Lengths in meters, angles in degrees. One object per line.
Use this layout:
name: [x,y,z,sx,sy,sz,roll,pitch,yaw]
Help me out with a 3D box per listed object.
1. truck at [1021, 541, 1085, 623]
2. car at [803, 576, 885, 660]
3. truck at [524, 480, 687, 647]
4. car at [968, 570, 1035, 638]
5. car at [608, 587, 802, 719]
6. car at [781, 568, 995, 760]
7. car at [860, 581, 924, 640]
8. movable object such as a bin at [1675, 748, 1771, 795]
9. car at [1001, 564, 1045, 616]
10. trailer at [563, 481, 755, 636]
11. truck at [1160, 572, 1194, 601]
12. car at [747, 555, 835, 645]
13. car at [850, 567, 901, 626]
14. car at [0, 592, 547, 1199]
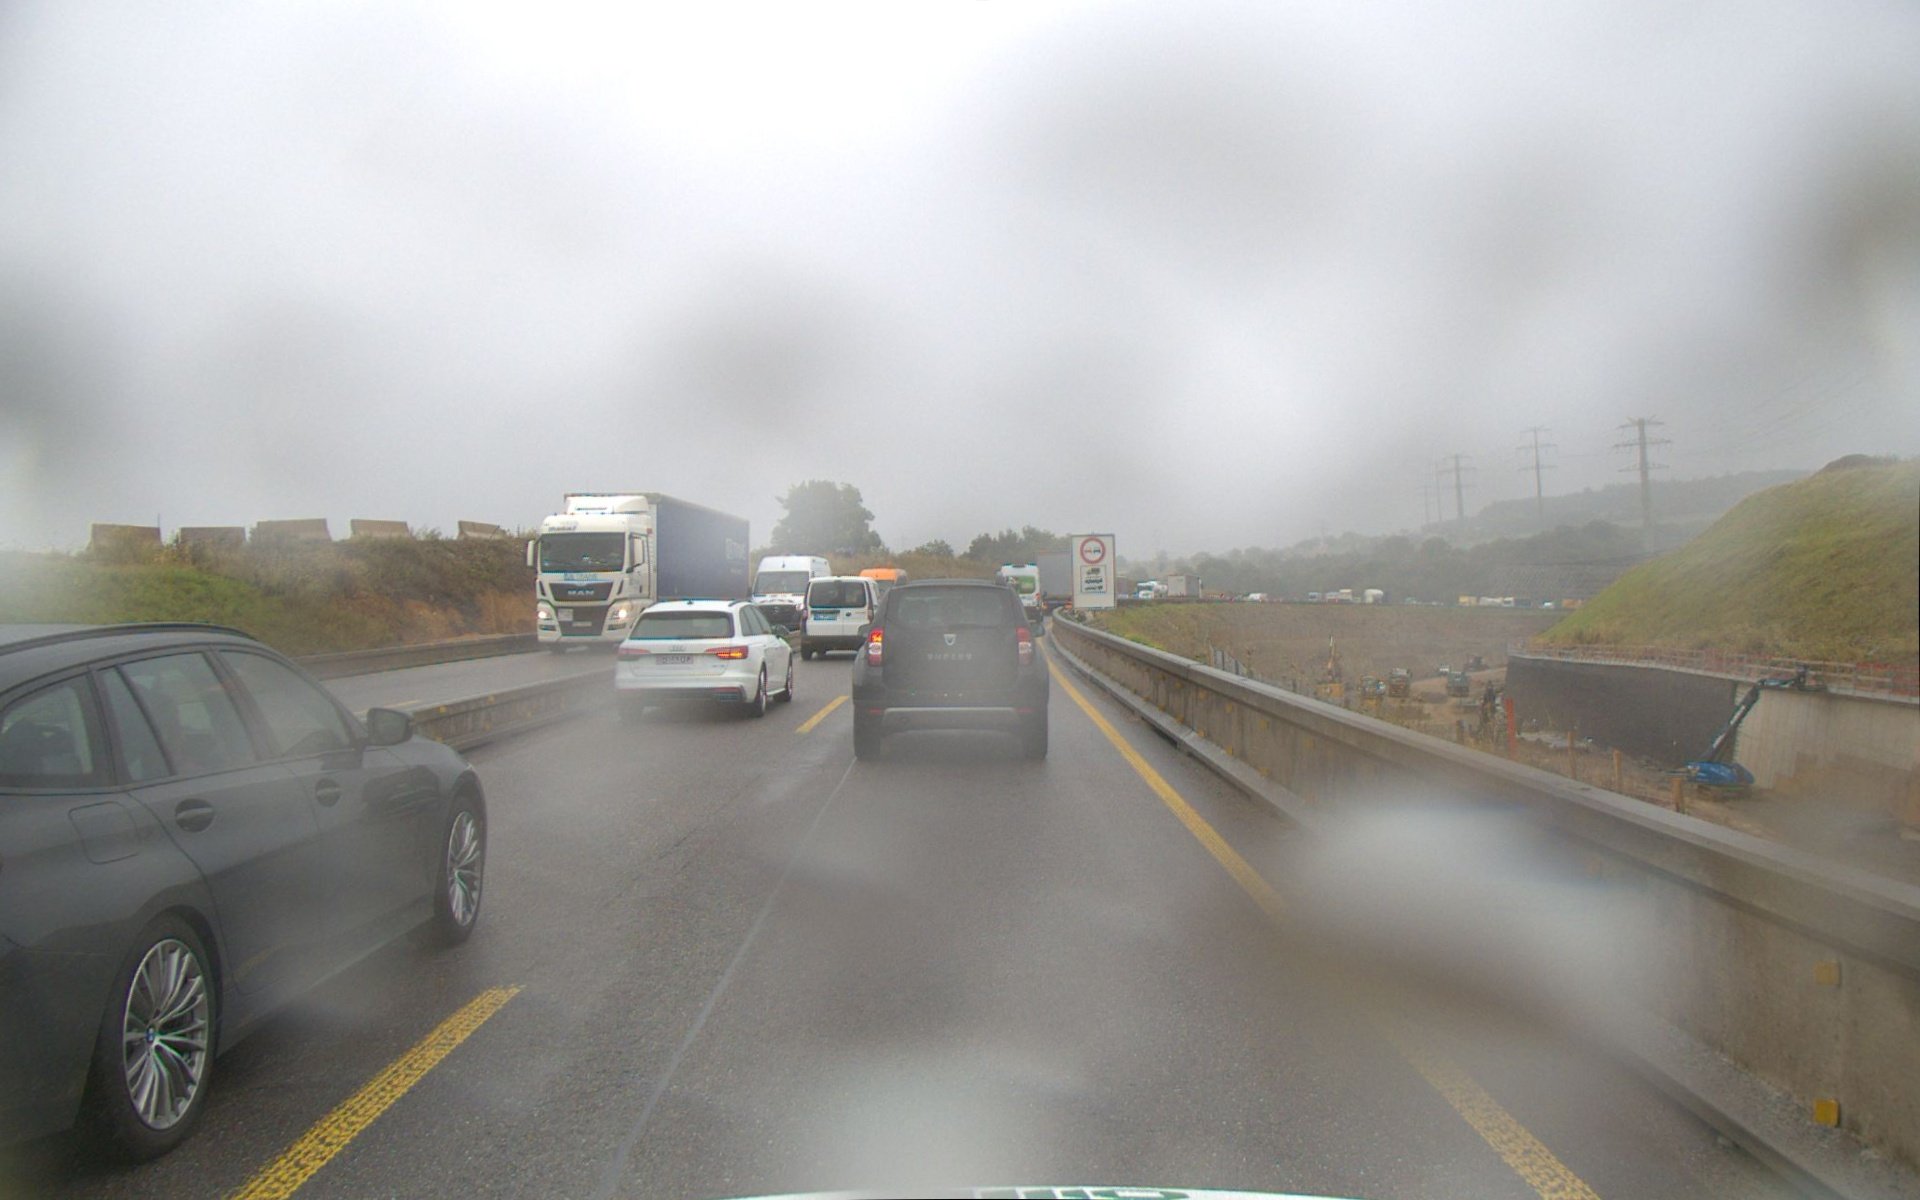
truck: [6.270,-1.085,110.109,3.468,5.166,10.449,0,0,7]
car: [-2.664,0.415,38.374,1.790,1.847,3.997,0,0,-3]
truck: [-9.200,-0.947,43.579,2.730,4.105,5.822,0,1,3]
car: [1.220,0.132,46.976,1.788,1.847,4.001,0,0,3]
car: [-3.152,0.628,21.189,1.788,1.525,4.000,0,0,1]
car: [-0.571,0.557,15.977,1.788,1.619,4.000,0,0,1]
car: [-2.198,0.353,54.431,1.788,1.847,4.001,0,0,2]
movable object such as a bin: [37.080,8.328,80.474,1.978,2.049,3.791,3,-4,-36]
car: [3.090,-0.465,80.827,1.787,2.480,4.161,0,-1,7]
trailer: [-8.861,-1.227,50.820,2.721,4.105,13.747,0,1,3]
truck: [29.809,-1.841,226.501,3.398,3.780,8.424,-1,1,15]
car: [-5.319,-0.064,52.965,1.964,2.700,6.886,0,1,1]
car: [-3.887,-0.209,77.404,2.012,2.622,7.021,0,1,0]
car: [-2.934,0.803,5.675,1.699,1.488,5.629,-1,2,-1]
